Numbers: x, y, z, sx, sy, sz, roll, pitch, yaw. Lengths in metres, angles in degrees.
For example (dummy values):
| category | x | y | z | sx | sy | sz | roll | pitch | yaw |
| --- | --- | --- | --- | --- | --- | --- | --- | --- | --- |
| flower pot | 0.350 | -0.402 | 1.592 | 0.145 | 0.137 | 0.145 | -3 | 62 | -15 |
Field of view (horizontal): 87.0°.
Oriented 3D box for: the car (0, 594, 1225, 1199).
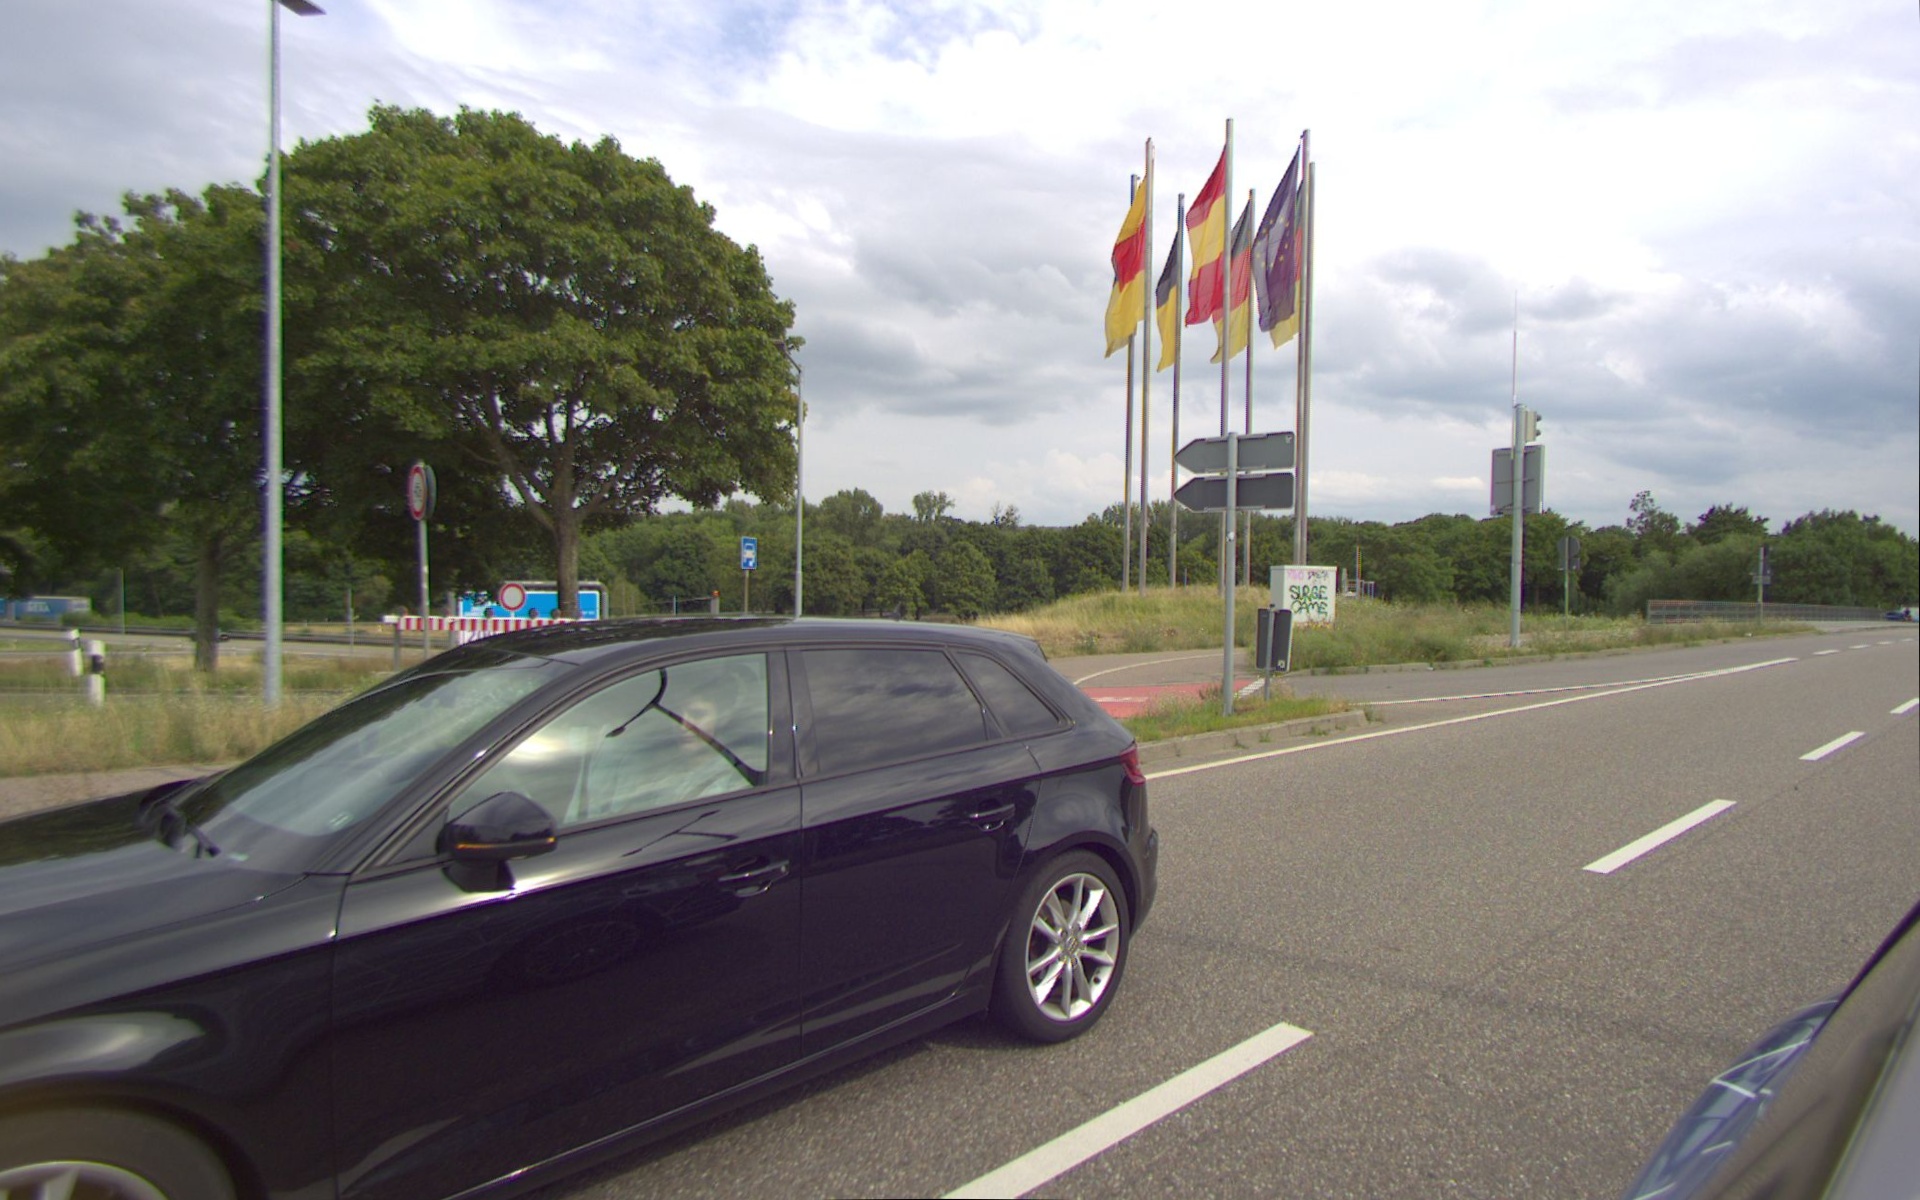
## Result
| category | x | y | z | sx | sy | sz | roll | pitch | yaw |
| --- | --- | --- | --- | --- | --- | --- | --- | --- | --- |
| car | -1.059 | 0.697 | 3.156 | 4.044 | 1.412 | 1.733 | 0 | 1 | -42 |
